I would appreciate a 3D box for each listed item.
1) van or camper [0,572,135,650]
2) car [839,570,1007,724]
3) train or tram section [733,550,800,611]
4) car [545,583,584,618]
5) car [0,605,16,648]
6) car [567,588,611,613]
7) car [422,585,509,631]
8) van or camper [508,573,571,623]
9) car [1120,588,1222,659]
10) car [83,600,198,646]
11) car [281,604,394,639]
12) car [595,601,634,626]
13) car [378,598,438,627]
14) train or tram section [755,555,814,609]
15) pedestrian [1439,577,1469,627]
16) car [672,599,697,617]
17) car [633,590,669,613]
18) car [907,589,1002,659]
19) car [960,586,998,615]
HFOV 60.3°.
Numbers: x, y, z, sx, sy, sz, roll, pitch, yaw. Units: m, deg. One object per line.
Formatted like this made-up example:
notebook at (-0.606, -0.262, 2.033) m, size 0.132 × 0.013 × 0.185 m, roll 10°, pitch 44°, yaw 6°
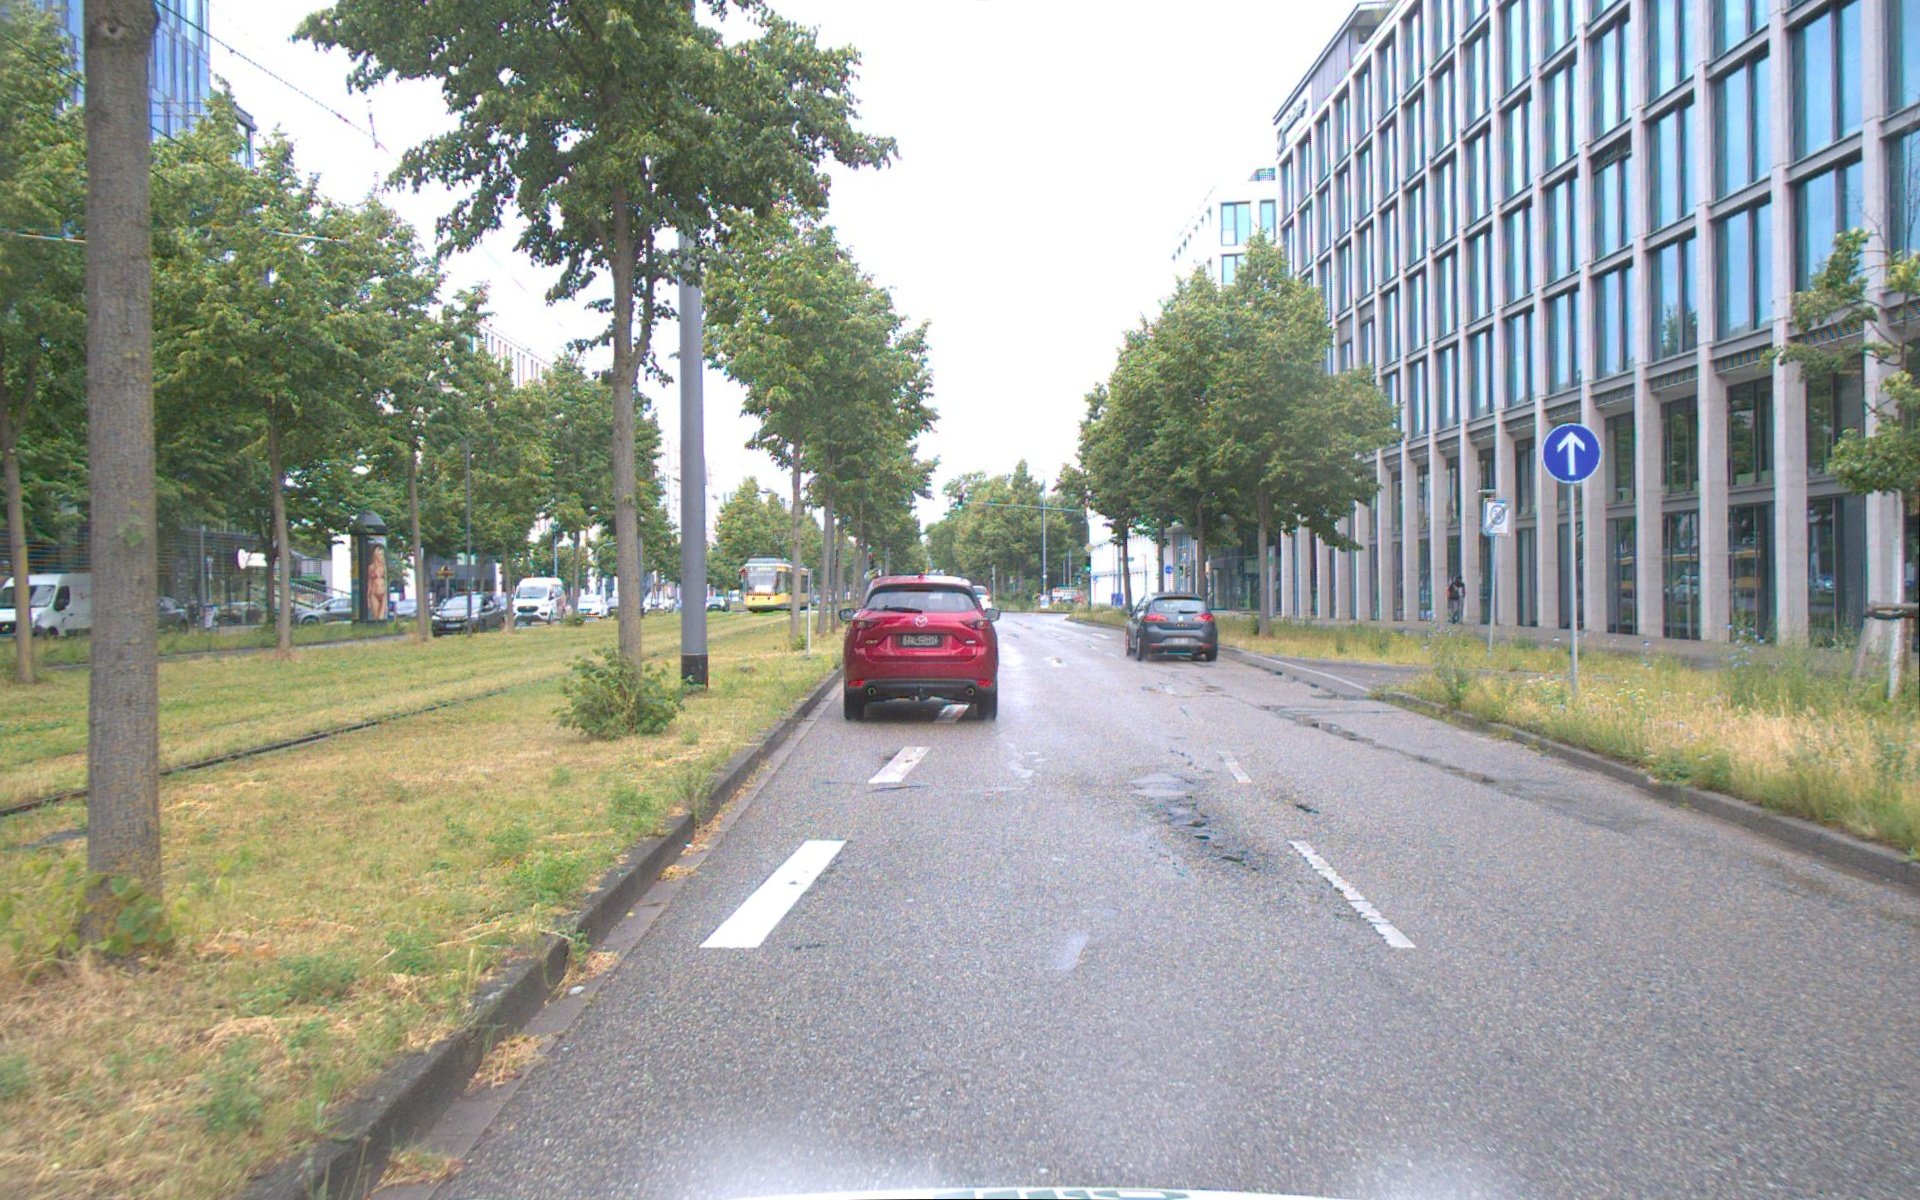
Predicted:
van or camper at (-29.094, 0.336, 53.078) m, size 2.384 × 2.356 × 5.848 m, roll 0°, pitch 0°, yaw -1°
car at (-0.479, 0.513, 20.426) m, size 1.860 × 1.706 × 3.998 m, roll 0°, pitch 0°, yaw -2°
train or tram section at (-12.361, -1.222, 106.846) m, size 3.065 × 3.723 × 13.402 m, roll 0°, pitch 0°, yaw -1°
car at (-30.104, 0.008, 125.961) m, size 2.212 × 2.606 × 4.650 m, roll 0°, pitch 0°, yaw -6°
car at (-32.177, 0.871, 52.754) m, size 1.780 × 1.402 × 4.182 m, roll 0°, pitch 0°, yaw -1°
car at (-22.438, -0.002, 100.152) m, size 1.846 × 1.485 × 3.999 m, roll 0°, pitch 0°, yaw -2°
car at (-17.853, 0.269, 59.916) m, size 1.825 × 1.551 × 4.478 m, roll -1°, pitch 0°, yaw -1°
van or camper at (-21.190, -0.125, 83.499) m, size 1.870 × 2.453 × 5.401 m, roll 0°, pitch 0°, yaw -1°
car at (4.599, 0.478, 36.533) m, size 1.708 × 1.490 × 3.780 m, roll 0°, pitch 0°, yaw -1°
car at (-29.184, 0.793, 59.054) m, size 1.954 × 1.548 × 4.604 m, roll 0°, pitch 0°, yaw -3°
car at (-29.346, 1.009, 78.012) m, size 4.639 × 1.548 × 1.970 m, roll -1°, pitch 0°, yaw -41°
car at (-24.001, 0.921, 114.967) m, size 1.847 × 1.484 × 3.999 m, roll 5°, pitch 0°, yaw -2°
car at (-30.171, 0.653, 90.535) m, size 1.954 × 1.548 × 4.604 m, roll 0°, pitch 0°, yaw -3°
train or tram section at (-12.708, -1.291, 121.090) m, size 3.065 × 3.723 × 15.059 m, roll 0°, pitch 0°, yaw -1°
pedestrian at (17.724, 0.076, 59.341) m, size 0.702 × 1.744 × 0.861 m, roll -2°, pitch 0°, yaw -2°
car at (-26.299, 0.776, 158.035) m, size 1.954 × 1.646 × 3.998 m, roll -1°, pitch 0°, yaw -3°
car at (-20.079, 0.066, 107.561) m, size 1.675 × 1.429 × 3.999 m, roll -1°, pitch 0°, yaw -2°
car at (-0.077, 0.510, 37.256) m, size 1.918 × 1.490 × 3.783 m, roll 0°, pitch 0°, yaw 3°
car at (0.963, 0.036, 86.247) m, size 1.927 × 1.462 × 4.552 m, roll 0°, pitch 0°, yaw 0°
